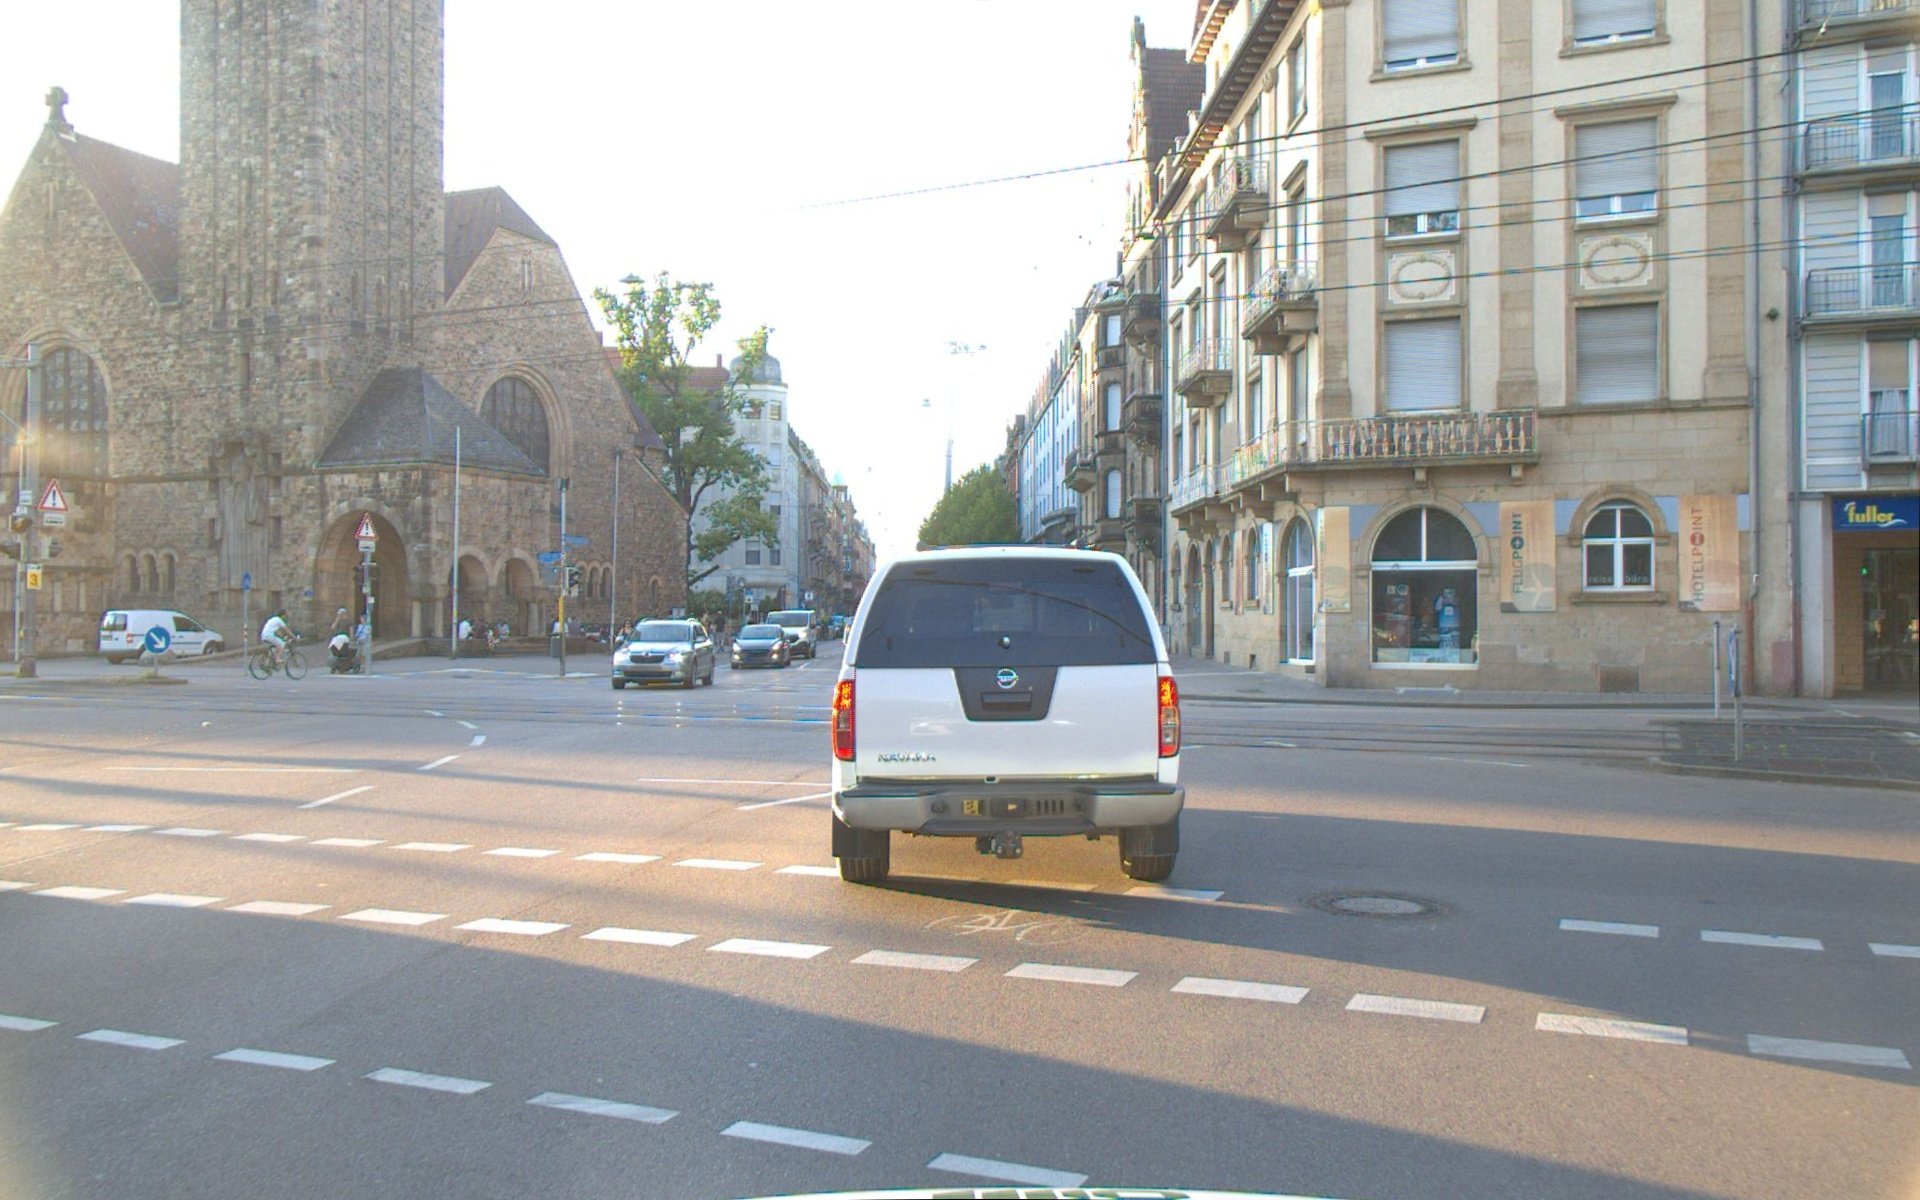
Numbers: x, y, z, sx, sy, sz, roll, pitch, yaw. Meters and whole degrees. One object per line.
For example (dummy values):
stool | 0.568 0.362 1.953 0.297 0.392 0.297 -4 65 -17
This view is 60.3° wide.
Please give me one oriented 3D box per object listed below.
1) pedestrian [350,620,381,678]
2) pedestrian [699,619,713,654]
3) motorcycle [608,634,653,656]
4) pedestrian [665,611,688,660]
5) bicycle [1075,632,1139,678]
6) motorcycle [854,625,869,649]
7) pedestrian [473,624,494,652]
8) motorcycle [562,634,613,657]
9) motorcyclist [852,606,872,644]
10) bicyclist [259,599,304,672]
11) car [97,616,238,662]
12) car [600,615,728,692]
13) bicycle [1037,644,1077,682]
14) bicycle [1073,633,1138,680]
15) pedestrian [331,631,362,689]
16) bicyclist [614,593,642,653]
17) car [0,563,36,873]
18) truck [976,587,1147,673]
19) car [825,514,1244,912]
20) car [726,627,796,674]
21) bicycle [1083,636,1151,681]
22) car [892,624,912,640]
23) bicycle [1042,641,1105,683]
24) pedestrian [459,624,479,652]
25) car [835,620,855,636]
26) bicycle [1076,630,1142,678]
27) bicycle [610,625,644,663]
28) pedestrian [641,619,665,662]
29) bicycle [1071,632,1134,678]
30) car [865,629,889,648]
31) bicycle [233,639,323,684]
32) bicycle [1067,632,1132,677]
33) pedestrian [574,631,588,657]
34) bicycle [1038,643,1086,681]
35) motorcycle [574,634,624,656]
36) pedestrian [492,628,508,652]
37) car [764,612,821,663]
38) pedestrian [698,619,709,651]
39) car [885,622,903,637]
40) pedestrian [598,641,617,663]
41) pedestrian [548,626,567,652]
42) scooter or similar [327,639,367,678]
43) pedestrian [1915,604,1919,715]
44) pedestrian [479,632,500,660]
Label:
pedestrian | -17.899 1.464 49.825 0.620 1.728 0.603 1 -2 11
pedestrian | -13.810 1.981 89.958 0.632 1.888 0.560 1 -2 -15
motorcycle | -15.977 2.187 80.130 2.120 1.005 0.594 0 -2 20
pedestrian | -11.406 1.427 66.559 0.796 1.934 0.666 1 -2 -2
bicycle | 4.321 1.619 48.767 1.781 1.259 0.412 -3 -1 -3
motorcycle | -4.405 1.665 74.028 0.587 1.062 1.945 1 -1 -1
pedestrian | -16.936 1.363 58.828 0.511 0.977 0.479 0 -2 19
motorcycle | -17.065 2.068 75.814 2.200 1.005 0.707 1 -2 -6
motorcyclist | -4.378 1.104 74.024 0.857 1.673 0.963 1 -2 -2
bicyclist | -17.580 0.905 42.844 0.644 1.859 0.857 0 0 31
car | -28.043 1.388 58.673 1.679 1.543 4.453 0 -2 24
car | -6.478 1.165 36.723 1.953 1.585 4.768 -1 -1 0
bicycle | 2.799 1.818 47.729 1.055 1.042 0.317 -3 -1 -3
bicycle | 4.224 1.635 48.040 1.781 1.259 0.477 -3 -1 -3
pedestrian | -18.531 1.812 49.942 0.620 1.728 0.603 1 -2 12
bicyclist | -9.446 0.651 47.095 0.587 1.673 0.963 1 -2 -1
car | -6.544 0.686 7.625 1.953 1.816 4.796 0 0 -1
truck | 3.315 0.977 52.962 5.628 2.610 2.251 2 -2 -44
car | 0.354 0.579 9.825 1.953 1.841 3.999 1 -1 0
car | -6.752 1.703 56.371 1.953 1.503 4.138 -1 -1 -1
bicycle | 4.387 1.638 46.389 1.781 1.170 0.636 -3 -1 -3
car | -5.625 3.115 160.676 1.821 1.556 3.999 1 -1 -1
bicycle | 3.216 1.759 46.848 1.692 1.102 0.317 -3 -1 -3
pedestrian | -17.547 1.359 59.103 0.511 0.977 0.479 0 -2 19
car | -11.698 2.835 168.606 1.821 1.556 3.999 1 -1 -1
bicycle | 4.260 1.541 47.331 1.781 1.259 0.488 -3 -1 -3
bicycle | -9.481 1.250 47.124 0.587 1.062 1.945 1 -1 -1
pedestrian | -12.358 1.619 66.517 0.796 1.699 0.859 1 -2 -2
bicycle | 4.249 1.632 49.371 1.781 1.259 0.410 -3 -1 -3
car | -6.876 3.166 136.830 1.822 1.556 3.995 1 -1 -5
bicycle | -17.610 1.572 42.780 0.644 1.097 2.241 0 -1 29
bicycle | 4.206 1.646 49.902 1.818 1.259 0.530 -3 -1 -3
pedestrian | -14.744 1.715 64.368 0.513 0.977 0.477 1 -2 -16
bicycle | 2.986 1.822 48.441 1.344 1.042 0.317 -3 -1 -3
motorcycle | -16.976 2.117 77.841 2.200 1.005 0.707 1 -2 -6
pedestrian | -19.454 1.683 69.973 0.541 0.977 0.708 1 -2 -7
car | -6.953 1.560 69.130 1.953 2.049 4.948 0 -1 -1
pedestrian | -14.057 1.911 90.798 0.549 1.725 0.643 1 -2 -8
car | -6.833 3.058 170.984 1.882 1.556 3.997 1 -1 -3
pedestrian | -16.190 2.390 76.006 0.540 0.977 0.709 0 -2 20
pedestrian | -15.705 1.517 64.538 0.510 0.977 0.479 0 -2 17
scooter or similar | -18.090 1.718 48.814 0.620 1.123 1.079 1 -2 11
pedestrian | 16.208 0.984 27.237 0.771 1.810 0.543 0 -2 25
pedestrian | -17.066 1.668 59.992 0.469 0.977 0.522 0 -2 29
